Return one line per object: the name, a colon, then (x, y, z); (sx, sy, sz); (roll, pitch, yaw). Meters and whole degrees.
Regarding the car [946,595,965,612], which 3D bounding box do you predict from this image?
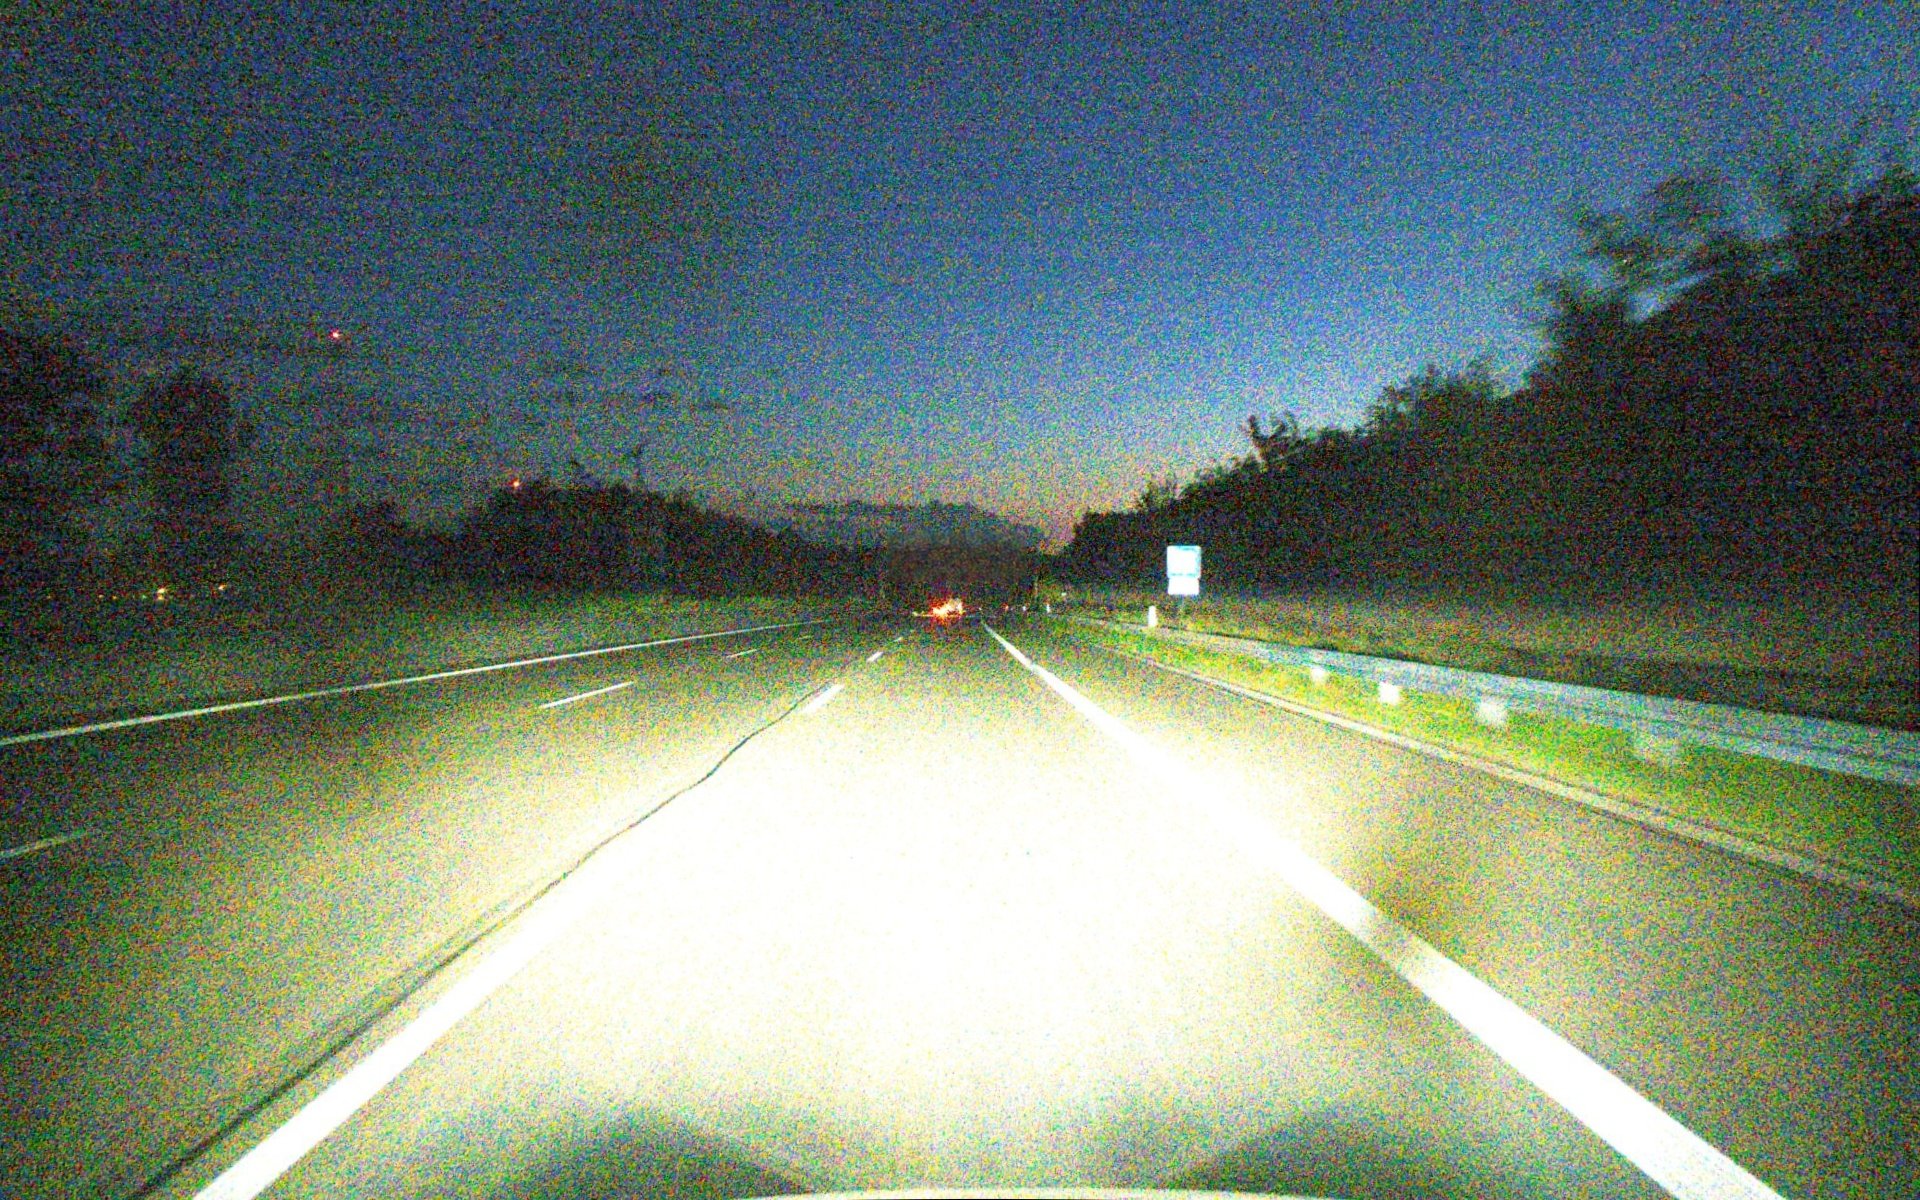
car: (-0.616, 0.553, 242.215); (2.458, 2.354, 4.972); (0, -1, 4)
